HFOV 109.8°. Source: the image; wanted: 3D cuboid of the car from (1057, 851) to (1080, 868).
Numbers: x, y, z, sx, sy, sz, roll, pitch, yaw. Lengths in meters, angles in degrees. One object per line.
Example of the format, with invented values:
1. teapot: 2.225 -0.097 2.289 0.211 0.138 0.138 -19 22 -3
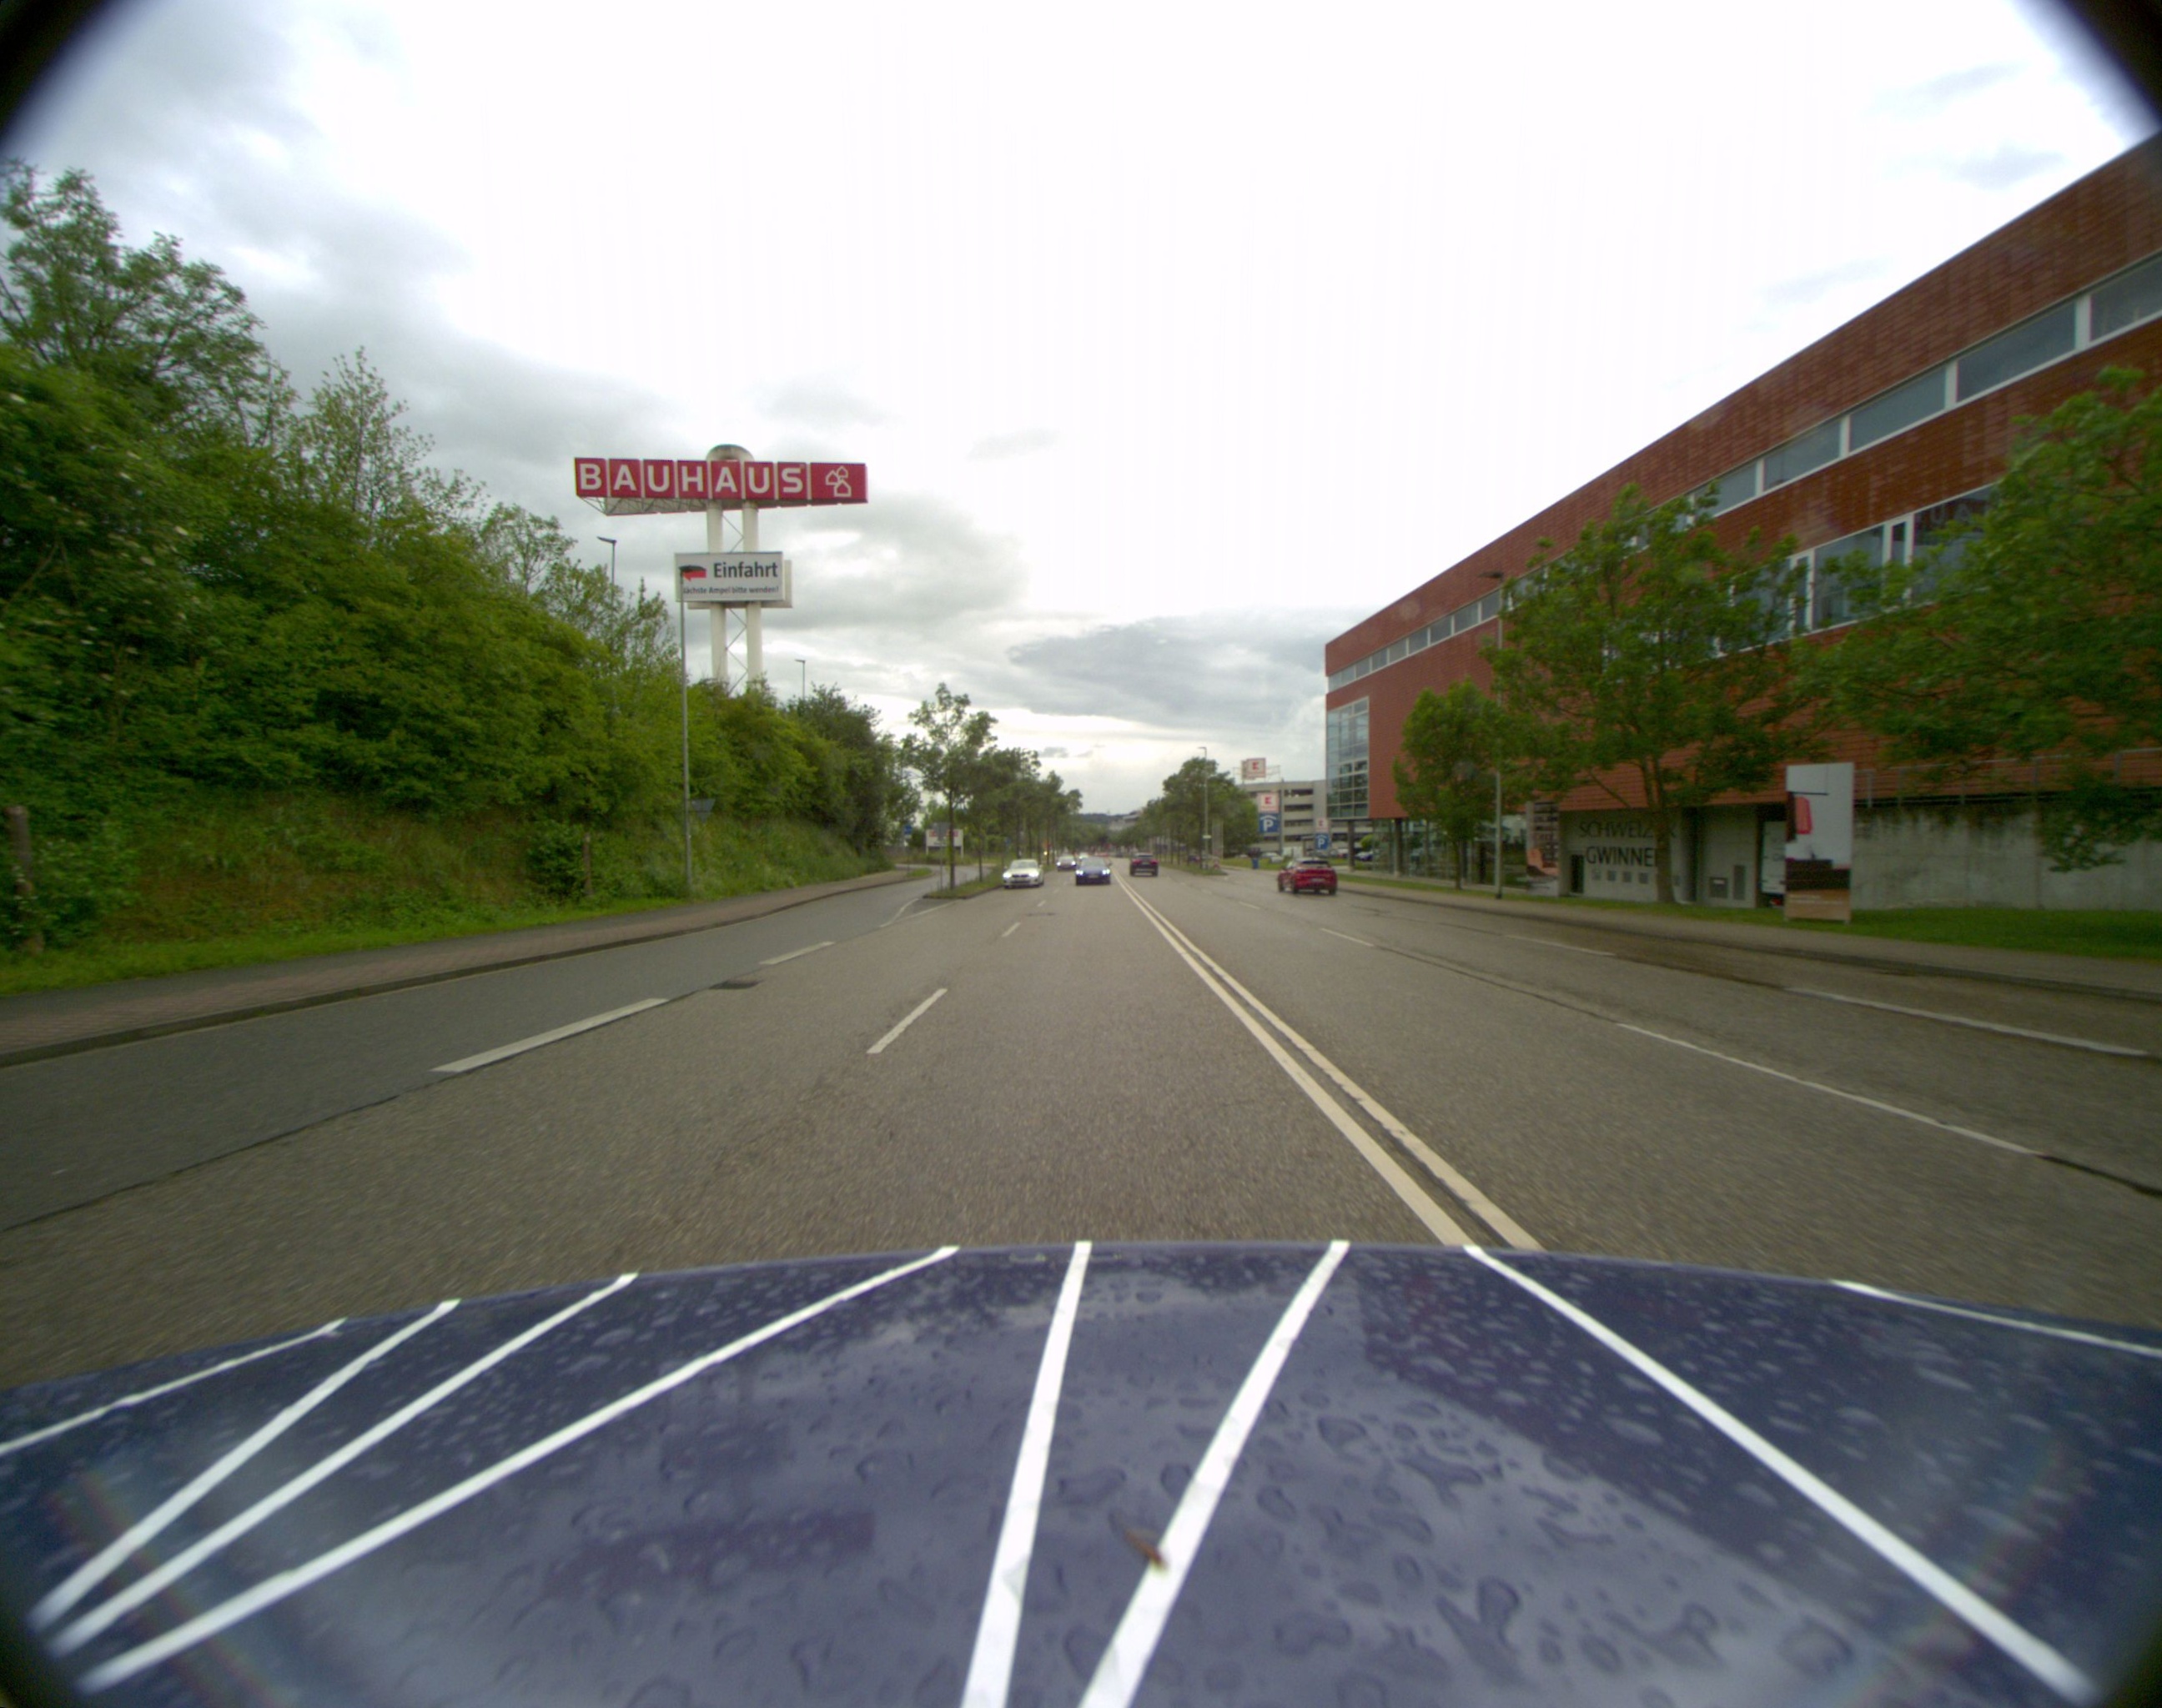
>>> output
1. car: -1.183 0.496 75.904 2.114 1.610 4.840 -2 1 1

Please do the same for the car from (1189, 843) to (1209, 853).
1. car: 22.452 -1.160 144.681 1.845 1.839 4.008 0 0 41

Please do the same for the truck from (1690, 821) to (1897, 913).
1. truck: 26.719 0.445 28.619 6.152 3.289 2.023 0 2 -5

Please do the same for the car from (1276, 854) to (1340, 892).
1. car: 9.607 0.751 32.477 1.680 1.498 4.217 0 0 3

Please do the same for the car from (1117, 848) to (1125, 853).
1. car: 11.331 -1.012 215.501 2.114 1.610 4.840 1 1 1

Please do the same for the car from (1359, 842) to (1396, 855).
1. car: 37.956 -0.666 97.451 4.060 1.608 1.834 -1 1 1

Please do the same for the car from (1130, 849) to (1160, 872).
1. car: 4.552 0.414 54.555 1.863 1.568 4.320 1 0 1

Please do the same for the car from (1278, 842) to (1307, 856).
1. car: 25.221 -0.643 90.700 1.834 1.608 4.436 -1 1 -6

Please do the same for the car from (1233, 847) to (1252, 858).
1. car: 23.439 -0.207 110.625 1.833 1.608 4.062 -1 1 -2

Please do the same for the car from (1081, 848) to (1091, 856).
1. car: 1.015 -0.398 152.822 1.853 1.565 3.998 -2 2 -2

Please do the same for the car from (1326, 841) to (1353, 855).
1. car: 25.447 -0.643 74.873 1.509 1.276 3.449 -2 1 1

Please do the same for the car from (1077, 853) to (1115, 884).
1. car: 0.784 0.725 40.158 1.827 1.473 4.840 -2 1 1

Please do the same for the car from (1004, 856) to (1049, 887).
1. car: -2.815 0.882 40.144 1.863 1.473 4.000 -2 1 3

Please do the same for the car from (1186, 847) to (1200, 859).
1. car: 15.439 -0.149 104.896 1.832 1.608 4.002 -2 0 7
